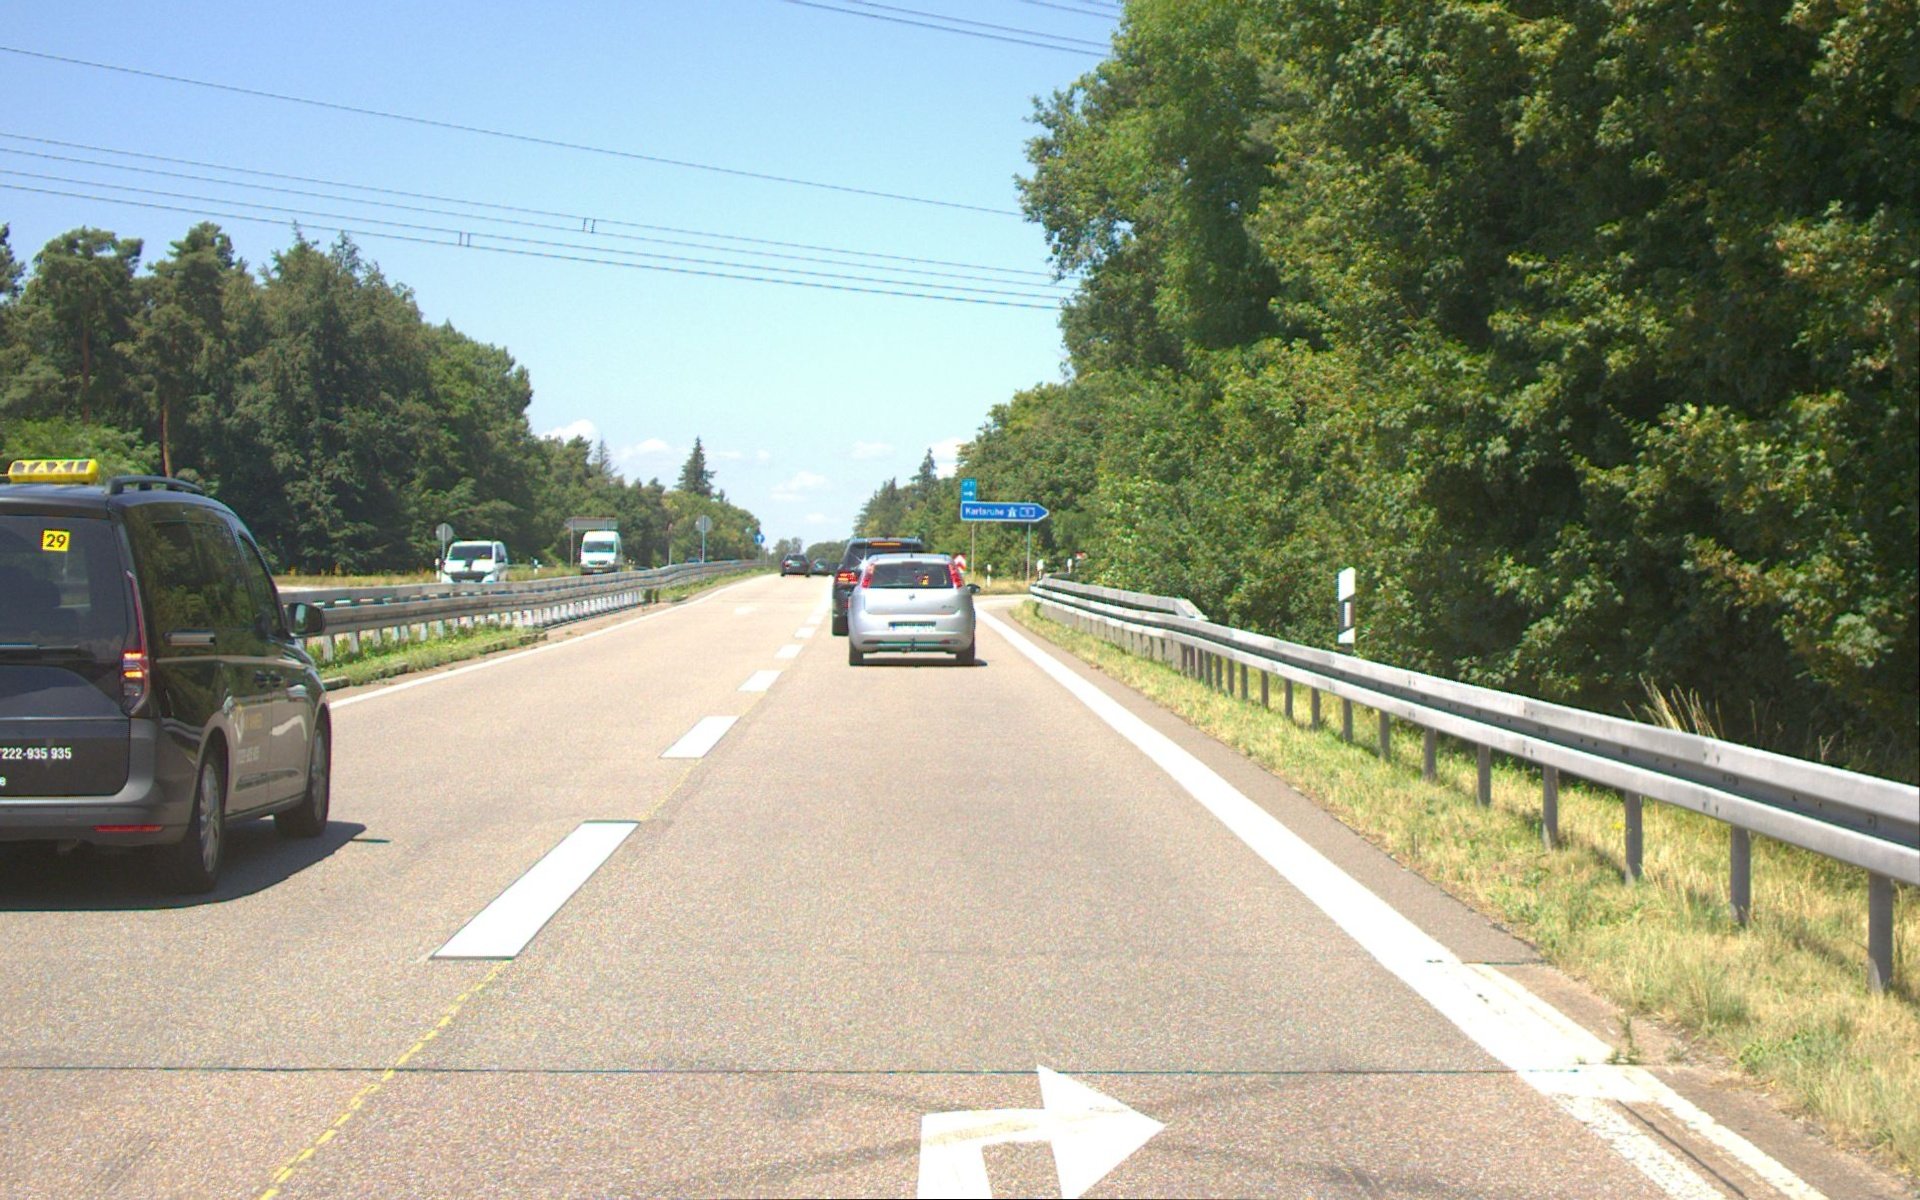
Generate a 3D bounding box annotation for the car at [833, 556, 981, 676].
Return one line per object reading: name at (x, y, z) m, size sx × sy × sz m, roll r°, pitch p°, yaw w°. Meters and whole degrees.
car at (-0.746, 0.188, 45.879) m, size 1.640 × 1.463 × 3.420 m, roll 3°, pitch 1°, yaw -5°

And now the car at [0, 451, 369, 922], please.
car at (-4.186, 0.320, 16.506) m, size 1.854 × 1.880 × 5.574 m, roll 0°, pitch 1°, yaw -1°

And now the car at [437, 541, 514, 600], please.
car at (-16.865, -1.040, 119.860) m, size 1.891 × 1.985 × 5.533 m, roll 0°, pitch 1°, yaw 0°

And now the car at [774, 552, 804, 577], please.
car at (-10.647, -2.232, 214.289) m, size 1.712 × 1.466 × 3.574 m, roll 3°, pitch 1°, yaw -2°

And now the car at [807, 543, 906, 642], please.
car at (-1.877, -0.148, 61.661) m, size 1.640 × 1.648 × 3.574 m, roll 3°, pitch 1°, yaw -3°

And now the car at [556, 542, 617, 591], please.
car at (-20.606, -1.834, 189.970) m, size 2.524 × 2.609 × 7.186 m, roll -1°, pitch 1°, yaw 0°
